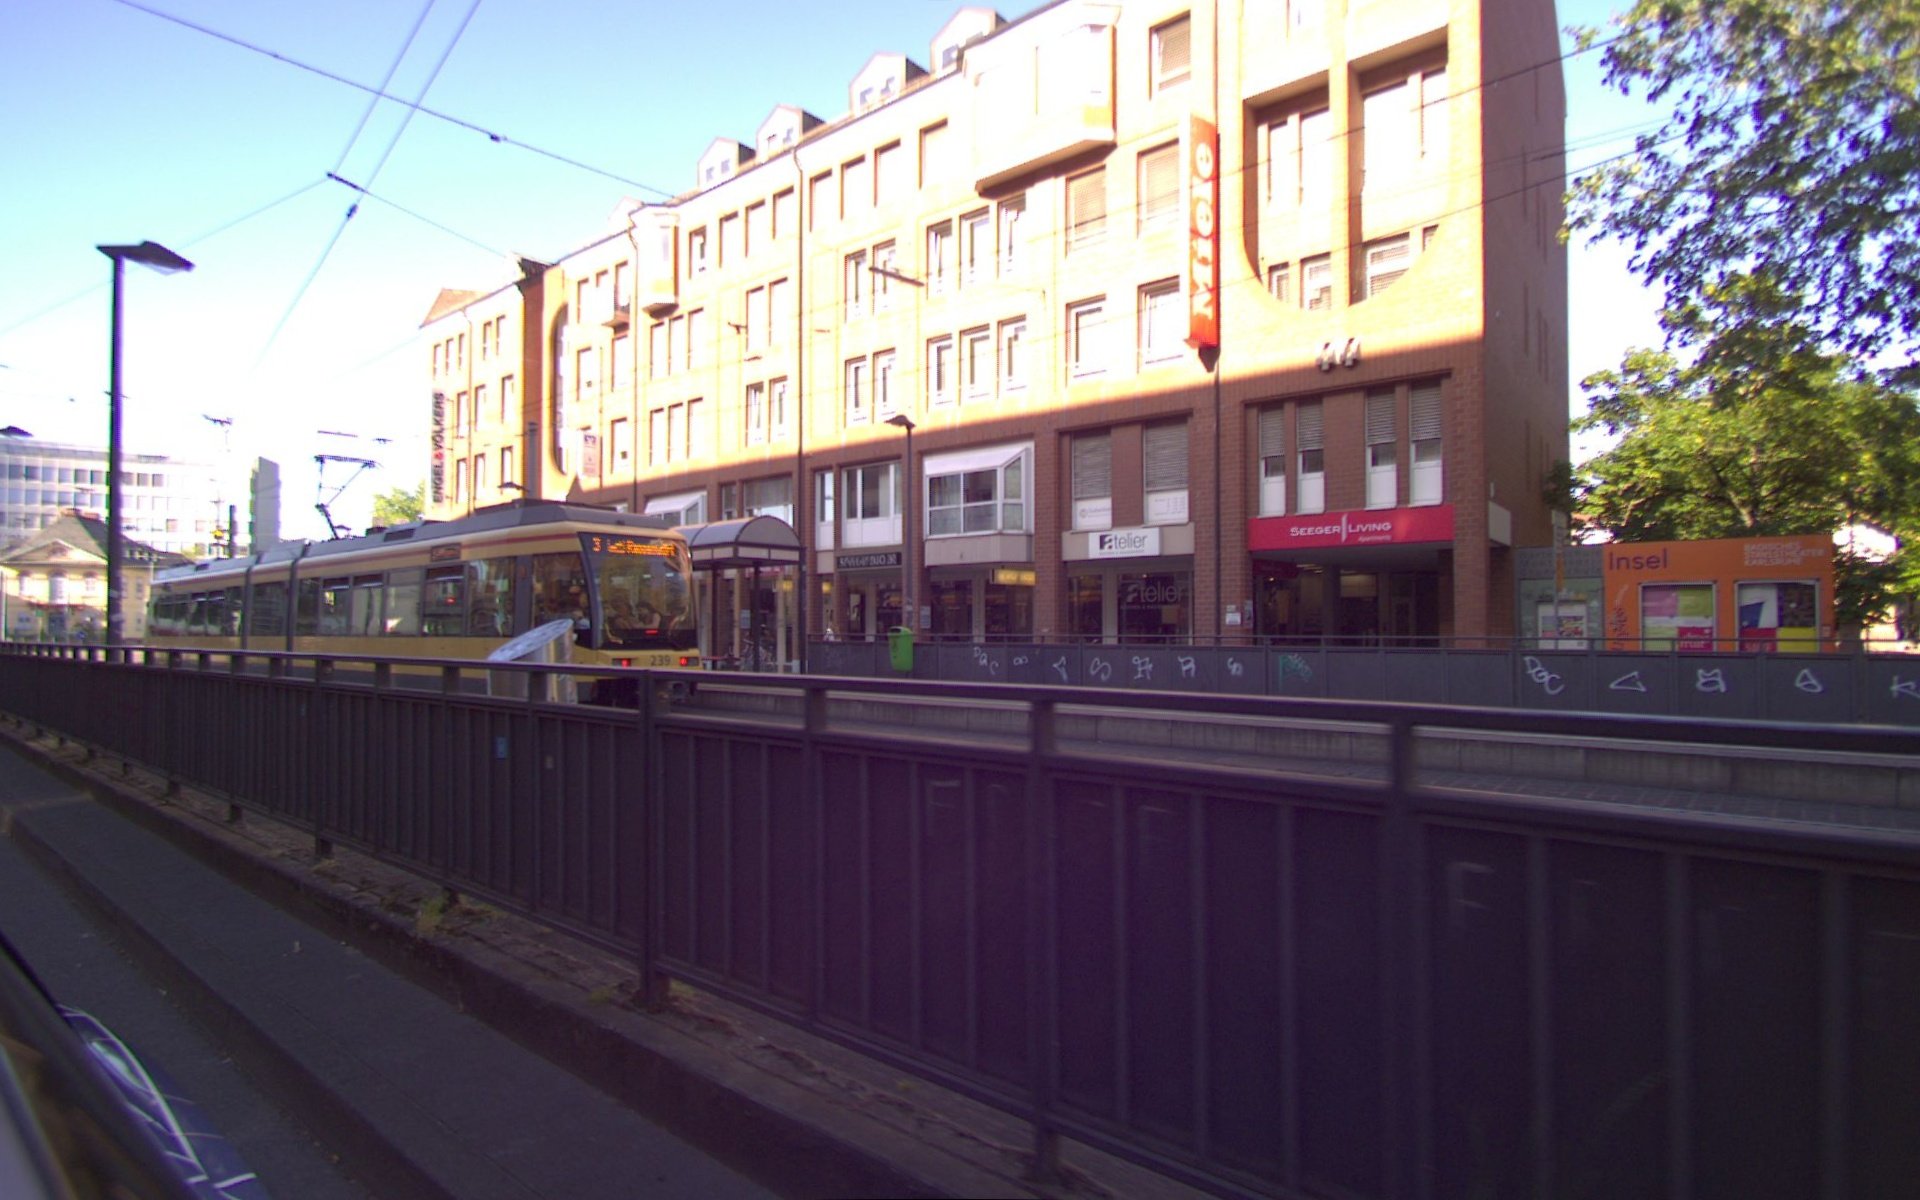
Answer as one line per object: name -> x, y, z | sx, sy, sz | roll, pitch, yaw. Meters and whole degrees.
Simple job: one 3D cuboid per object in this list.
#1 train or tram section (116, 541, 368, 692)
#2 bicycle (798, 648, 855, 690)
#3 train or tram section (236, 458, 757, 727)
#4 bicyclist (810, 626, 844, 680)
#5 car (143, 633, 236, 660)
train or tram section -> -21.927, 0.542, 30.298 | 13.936, 3.672, 2.943 | -2, -1, 41
bicycle -> -3.764, 1.916, 28.406 | 1.813, 1.123, 0.500 | -2, -2, 41
train or tram section -> -10.426, 0.163, 20.329 | 16.475, 3.672, 2.943 | -3, -1, 41
bicyclist -> -3.727, 1.469, 28.383 | 0.840, 1.478, 0.500 | -2, -2, 41
car -> -45.719, 2.729, 60.105 | 3.942, 1.516, 2.001 | 0, -2, -2
